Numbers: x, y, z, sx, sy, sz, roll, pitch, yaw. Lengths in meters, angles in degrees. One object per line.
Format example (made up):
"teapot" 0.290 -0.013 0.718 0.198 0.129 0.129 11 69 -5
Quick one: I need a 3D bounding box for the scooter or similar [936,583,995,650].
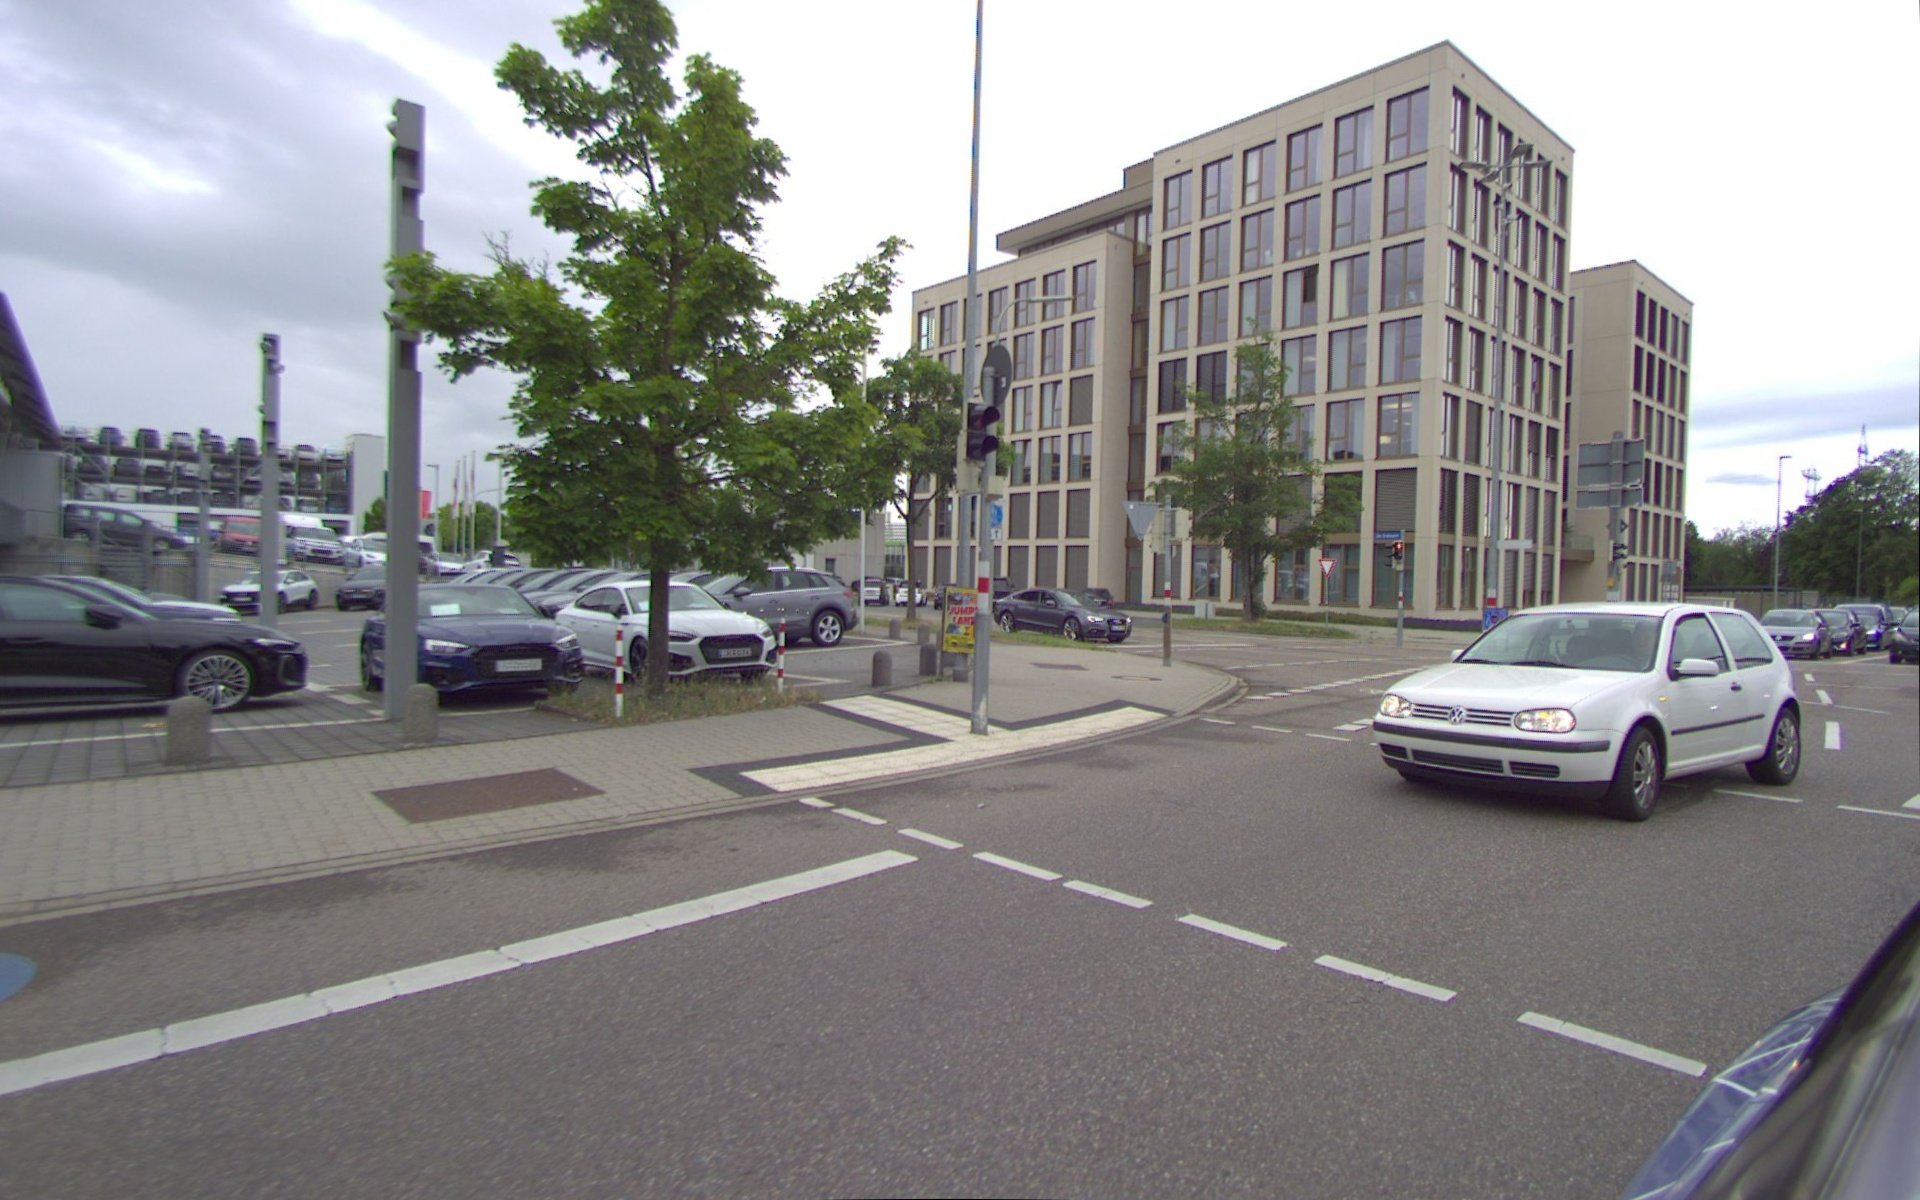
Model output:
"scooter or similar" 0.093 0.314 20.211 0.547 1.234 1.563 4 0 -23

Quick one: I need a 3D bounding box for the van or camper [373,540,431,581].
"van or camper" -30.561 -2.129 55.369 1.964 2.039 3.995 3 -1 -40

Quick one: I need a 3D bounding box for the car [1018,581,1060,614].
"car" 4.074 -0.142 51.651 1.857 1.571 4.124 1 0 8

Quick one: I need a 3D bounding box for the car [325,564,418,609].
"car" -23.083 -0.517 39.879 1.882 1.679 4.454 0 0 -12

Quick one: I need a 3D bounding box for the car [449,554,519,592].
"car" -22.230 -1.235 47.187 1.964 1.638 3.995 3 -1 -40

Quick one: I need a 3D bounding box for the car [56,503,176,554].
"car" -37.077 -3.117 44.564 3.928 1.861 1.758 3 -1 -40

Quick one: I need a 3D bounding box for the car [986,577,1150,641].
"car" 2.890 0.191 28.144 1.948 1.570 4.614 1 1 -36

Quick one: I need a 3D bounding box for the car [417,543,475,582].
"car" -28.920 -2.075 56.863 1.964 2.039 3.995 3 -1 -40

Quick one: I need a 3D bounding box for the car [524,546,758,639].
"car" -7.675 -0.236 24.669 4.953 2.038 2.262 -2 2 -41

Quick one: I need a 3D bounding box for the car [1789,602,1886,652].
"car" 29.096 0.908 33.524 4.076 1.509 1.869 3 -1 -41

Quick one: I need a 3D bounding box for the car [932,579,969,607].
"car" -0.504 -0.385 56.465 1.668 1.530 3.811 1 0 6

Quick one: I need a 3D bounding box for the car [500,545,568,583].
"car" -20.759 -1.714 49.242 1.963 1.638 3.997 3 -1 -38

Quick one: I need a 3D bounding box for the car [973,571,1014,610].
"car" 1.840 -0.490 53.970 1.965 1.990 4.239 1 0 5

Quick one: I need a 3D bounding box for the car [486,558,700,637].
"car" -9.533 -0.130 26.564 4.880 1.899 2.049 -2 2 -43

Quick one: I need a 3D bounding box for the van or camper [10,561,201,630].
"van or camper" -23.855 -0.096 28.399 3.929 1.733 1.844 3 -1 -41

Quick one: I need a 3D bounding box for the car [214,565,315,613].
"car" -25.929 -0.397 37.898 1.882 1.679 4.455 0 0 -17

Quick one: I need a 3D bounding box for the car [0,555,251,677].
"car" -15.301 0.227 17.588 4.731 1.964 1.998 0 1 -40

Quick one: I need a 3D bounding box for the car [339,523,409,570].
"car" -25.860 -2.291 44.620 1.964 1.846 3.995 3 -1 -40

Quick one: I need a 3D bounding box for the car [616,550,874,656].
"car" -4.209 -0.016 20.308 4.706 1.886 1.997 -2 2 -42

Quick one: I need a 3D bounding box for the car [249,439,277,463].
"car" -71.770 -15.324 104.226 1.965 1.906 3.994 0 0 -41

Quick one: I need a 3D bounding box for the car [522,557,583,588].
"car" -46.131 -3.125 114.700 6.024 3.156 2.132 3 -1 -38

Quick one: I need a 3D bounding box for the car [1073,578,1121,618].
"car" 6.561 -0.098 48.034 1.861 1.790 4.116 1 0 13

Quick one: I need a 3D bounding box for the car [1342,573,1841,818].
"car" 5.080 0.646 8.028 3.926 1.497 1.839 3 -1 -33

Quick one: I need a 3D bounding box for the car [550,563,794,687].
"car" -4.258 0.304 14.519 1.841 1.505 4.224 0 0 -39

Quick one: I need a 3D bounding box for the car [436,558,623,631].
"car" -12.957 -0.231 30.631 4.825 2.038 1.997 -2 2 -42

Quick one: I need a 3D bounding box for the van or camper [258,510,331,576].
"van or camper" -34.404 -2.856 52.237 2.499 3.065 4.837 3 -1 -40

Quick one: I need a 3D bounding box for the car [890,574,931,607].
"car" -2.928 -0.555 60.528 1.566 1.821 3.421 2 -1 11

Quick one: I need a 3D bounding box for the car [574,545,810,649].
"car" -5.823 -0.134 22.306 4.635 2.038 1.997 -2 2 -41

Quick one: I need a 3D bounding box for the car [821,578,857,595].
"car" -10.881 -1.224 91.087 1.476 1.349 3.200 1 -1 34

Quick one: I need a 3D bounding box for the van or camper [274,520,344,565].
"van or camper" -27.722 -2.404 43.059 1.964 1.672 3.994 3 -1 -40

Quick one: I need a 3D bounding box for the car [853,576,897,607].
"car" -5.092 -0.494 60.909 1.739 1.754 3.421 2 -1 12

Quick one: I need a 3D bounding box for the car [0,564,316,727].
"car" -9.374 0.442 10.202 4.671 1.505 1.890 0 -1 -40

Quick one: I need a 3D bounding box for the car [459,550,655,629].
"car" -11.218 -0.346 28.413 4.709 2.038 1.996 -2 2 -43

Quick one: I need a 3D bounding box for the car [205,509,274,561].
"car" -29.789 -2.611 41.799 1.964 1.872 3.995 3 -1 -40

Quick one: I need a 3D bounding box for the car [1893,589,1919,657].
"car" 27.246 0.695 27.738 4.344 1.791 1.997 3 -1 -41

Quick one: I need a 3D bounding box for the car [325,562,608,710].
"car" -6.310 0.385 12.653 2.034 1.505 4.507 -1 0 -42

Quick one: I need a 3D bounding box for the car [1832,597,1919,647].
"car" 35.484 0.864 39.196 4.076 1.791 1.997 3 -1 -41

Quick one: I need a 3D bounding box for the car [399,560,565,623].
"car" -16.433 -0.341 34.958 4.825 2.038 1.997 -2 2 -42

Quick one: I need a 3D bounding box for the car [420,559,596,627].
"car" -14.580 -0.298 32.811 4.825 2.038 1.997 -2 2 -42

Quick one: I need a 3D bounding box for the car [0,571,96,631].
"car" -30.888 0.016 33.056 3.931 1.861 1.756 3 -1 -43

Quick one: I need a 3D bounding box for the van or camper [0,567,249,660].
"van or camper" -16.769 0.288 20.262 3.929 1.699 1.997 3 -1 -41

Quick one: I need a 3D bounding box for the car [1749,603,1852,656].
"car" 25.239 0.892 30.339 4.026 1.450 1.749 3 -1 -41
